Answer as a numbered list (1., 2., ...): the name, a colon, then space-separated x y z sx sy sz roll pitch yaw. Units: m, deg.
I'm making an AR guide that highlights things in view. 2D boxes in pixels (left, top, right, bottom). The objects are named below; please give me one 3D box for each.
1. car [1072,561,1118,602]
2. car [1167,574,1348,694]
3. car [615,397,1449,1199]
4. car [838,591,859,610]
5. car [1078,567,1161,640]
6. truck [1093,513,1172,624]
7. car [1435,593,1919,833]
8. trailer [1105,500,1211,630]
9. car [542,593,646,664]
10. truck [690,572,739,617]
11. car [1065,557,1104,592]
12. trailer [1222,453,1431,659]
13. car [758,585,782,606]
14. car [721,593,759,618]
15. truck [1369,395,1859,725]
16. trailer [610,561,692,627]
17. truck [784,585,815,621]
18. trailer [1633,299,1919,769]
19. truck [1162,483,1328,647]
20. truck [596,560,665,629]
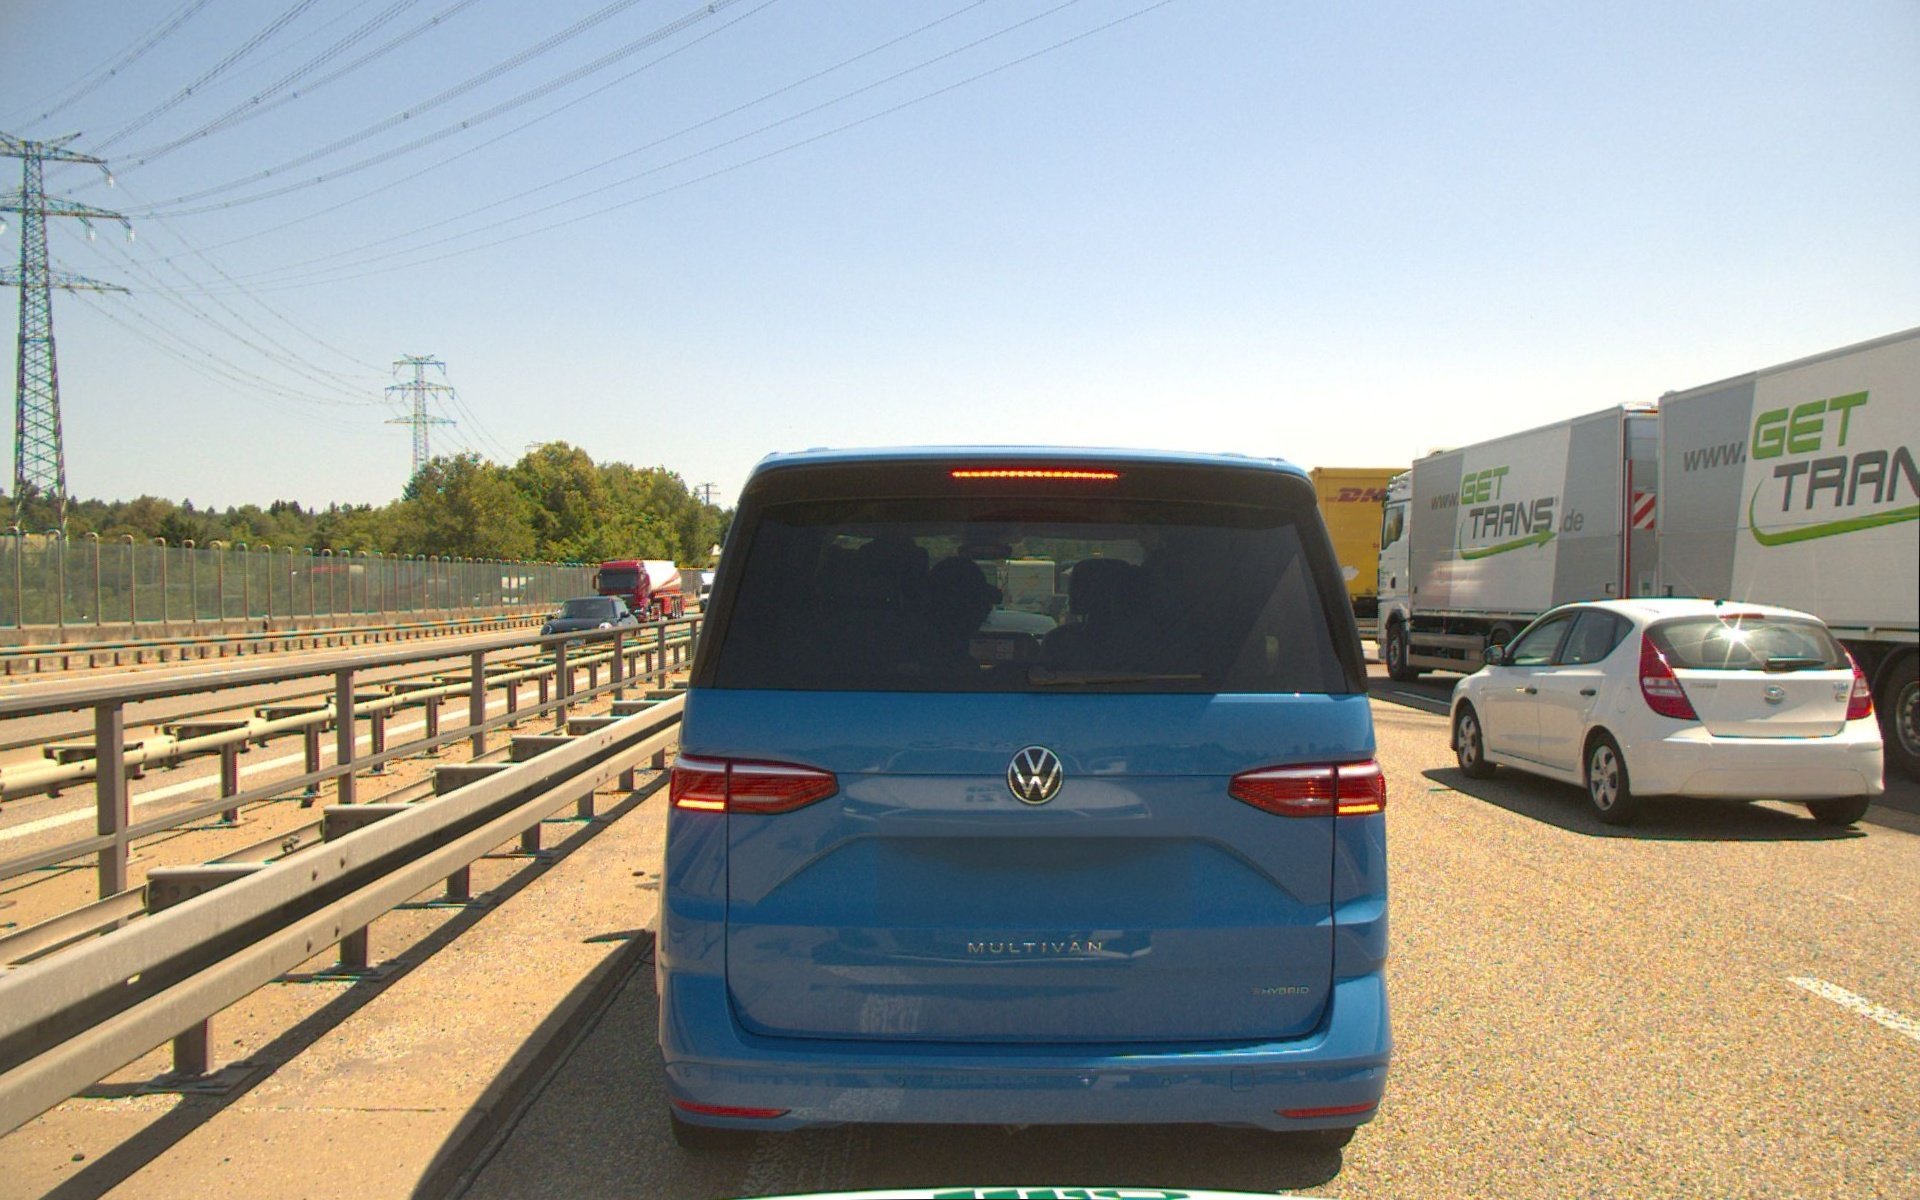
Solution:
1. car: 7.021 -0.947 86.326 1.953 2.049 3.999 1 0 -1
2. car: 4.413 0.456 25.205 1.922 1.673 4.292 0 0 -1
3. car: 0.136 0.518 5.619 1.783 1.890 4.074 1 0 -1
4. car: -11.932 0.062 176.807 1.953 2.049 4.311 1 0 -1
5. car: 4.542 0.081 47.739 1.922 2.028 4.292 0 0 -1
6. truck: 7.467 -1.315 72.448 2.613 4.562 6.848 1 0 -1
7. car: 5.094 0.697 12.459 1.752 1.481 4.292 0 0 -1
8. trailer: 7.602 -1.292 64.984 2.583 4.595 11.299 1 0 -1
9. car: -8.384 0.614 38.147 1.586 1.489 3.701 -2 0 -1
10. truck: -18.602 -0.445 125.939 2.468 3.164 8.720 -3 0 -2
11. car: 7.499 -1.523 99.664 1.953 2.049 4.460 -1 0 -1
12. trailer: 8.462 -0.925 39.452 2.806 4.313 9.009 1 0 -1
13. car: -20.213 -0.482 176.166 2.040 2.187 4.311 -2 1 -1
14. car: -13.793 0.328 104.022 1.826 1.469 4.130 -2 0 -1
15. truck: 8.758 -0.490 24.184 2.603 3.711 11.008 0 0 -1
16. trailer: -17.359 -0.329 93.735 2.430 3.402 12.070 -2 0 -1
17. truck: -16.035 0.288 165.736 2.510 3.418 8.860 -2 0 -2
18. trailer: 8.983 -0.540 14.661 2.643 3.765 8.013 0 0 -1
19. truck: 8.247 -0.940 49.457 2.778 4.317 11.008 1 0 -1
20. truck: -17.221 -0.284 86.792 2.447 3.424 5.833 -2 0 -1
